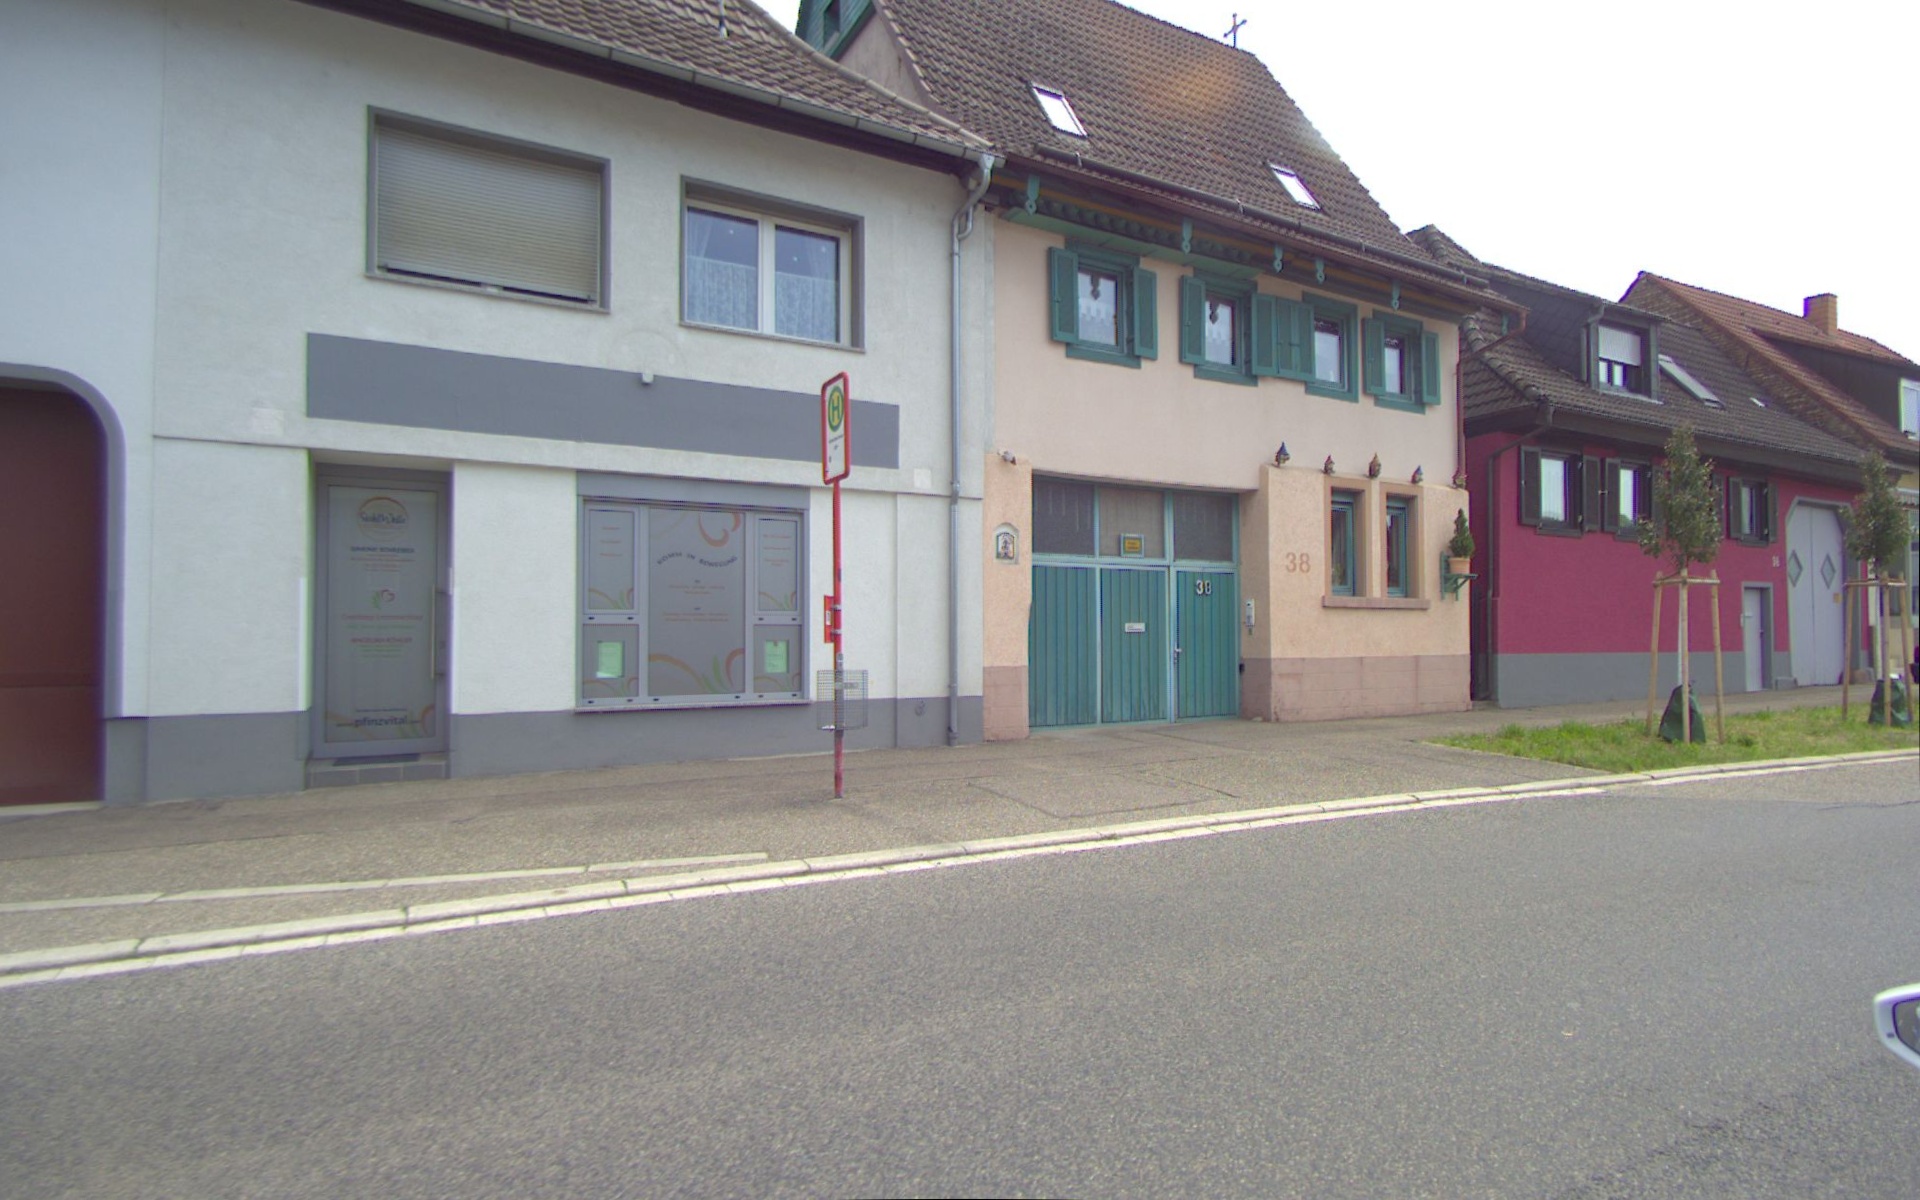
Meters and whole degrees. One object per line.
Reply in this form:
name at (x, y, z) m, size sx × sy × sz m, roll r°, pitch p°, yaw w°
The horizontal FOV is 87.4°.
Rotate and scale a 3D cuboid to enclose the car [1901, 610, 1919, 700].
car at (17.388, 0.910, 15.446) m, size 1.699 × 1.483 × 3.951 m, roll 1°, pitch 0°, yaw -28°
